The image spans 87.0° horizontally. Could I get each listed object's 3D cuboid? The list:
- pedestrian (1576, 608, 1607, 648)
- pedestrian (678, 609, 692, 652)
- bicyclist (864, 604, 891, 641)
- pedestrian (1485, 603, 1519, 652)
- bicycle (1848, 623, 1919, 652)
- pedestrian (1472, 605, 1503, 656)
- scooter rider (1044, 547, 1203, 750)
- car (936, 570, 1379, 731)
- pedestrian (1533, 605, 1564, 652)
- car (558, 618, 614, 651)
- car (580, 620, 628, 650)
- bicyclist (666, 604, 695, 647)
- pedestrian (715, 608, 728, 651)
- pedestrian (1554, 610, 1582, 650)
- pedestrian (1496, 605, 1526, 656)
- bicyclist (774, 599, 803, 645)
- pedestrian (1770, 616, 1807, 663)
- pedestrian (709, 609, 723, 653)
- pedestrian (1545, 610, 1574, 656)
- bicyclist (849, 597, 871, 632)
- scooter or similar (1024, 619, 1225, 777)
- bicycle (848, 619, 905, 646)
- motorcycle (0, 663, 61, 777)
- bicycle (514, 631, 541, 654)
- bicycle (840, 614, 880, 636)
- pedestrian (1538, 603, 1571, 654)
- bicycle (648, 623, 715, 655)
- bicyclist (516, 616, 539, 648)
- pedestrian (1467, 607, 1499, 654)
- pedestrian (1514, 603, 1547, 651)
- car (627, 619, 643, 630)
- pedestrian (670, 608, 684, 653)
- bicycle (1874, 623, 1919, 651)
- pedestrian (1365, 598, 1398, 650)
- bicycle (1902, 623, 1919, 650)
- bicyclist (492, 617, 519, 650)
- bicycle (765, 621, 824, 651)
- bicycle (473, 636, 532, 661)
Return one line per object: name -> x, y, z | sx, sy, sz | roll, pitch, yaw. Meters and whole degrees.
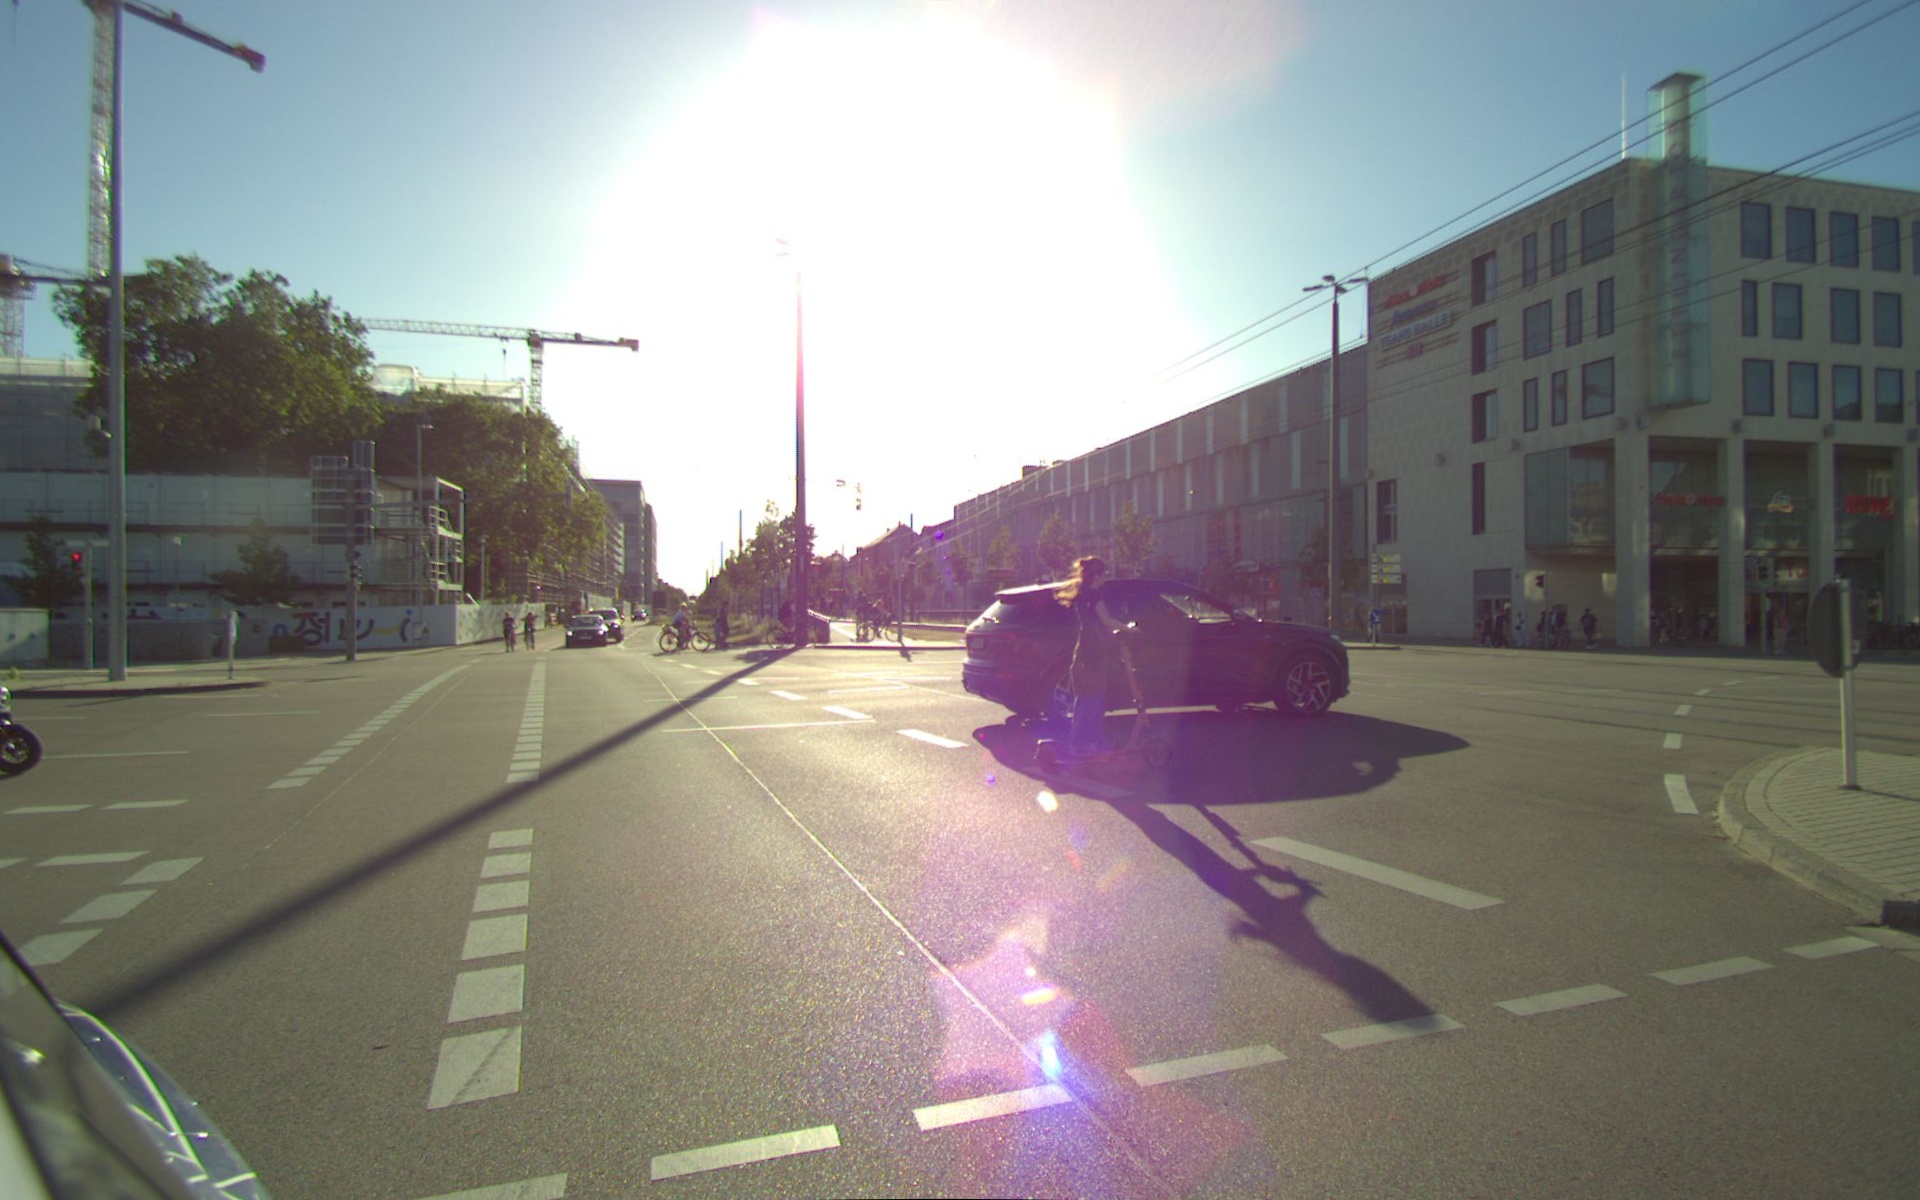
pedestrian -> 26.489, 1.159, 42.452 | 1.006, 1.663, 0.937 | -1, -1, 37
pedestrian -> -10.091, 1.119, 37.108 | 0.444, 1.578, 0.521 | -1, -1, -10
bicyclist -> -3.169, 0.862, 38.881 | 0.827, 1.367, 0.808 | -1, -1, -18
pedestrian -> 24.169, 1.226, 45.126 | 0.930, 2.140, 0.901 | 0, -1, -20
bicycle -> 37.439, 1.512, 40.897 | 0.647, 1.121, 2.415 | 0, -1, -10
pedestrian -> 22.768, 1.308, 43.661 | 0.933, 2.140, 0.899 | 1, -1, -44
scooter rider -> 1.307, 0.368, 8.195 | 1.098, 1.555, 0.646 | 0, 0, -12
car -> 2.259, 0.530, 12.176 | 4.711, 1.675, 2.207 | 0, -1, -14
pedestrian -> 25.933, 1.251, 44.577 | 1.008, 2.029, 0.918 | 1, -1, -45
car -> -16.874, 1.515, 45.810 | 1.966, 1.386, 4.011 | -1, -1, -14
car -> -18.197, 1.759, 51.880 | 1.966, 1.386, 4.011 | -1, -1, -14
bicyclist -> -9.381, 0.849, 33.958 | 0.830, 1.412, 0.807 | -1, -1, -8
pedestrian -> -8.956, 1.096, 38.019 | 0.444, 1.578, 0.521 | -1, -1, -10
pedestrian -> 24.360, 1.187, 40.566 | 0.942, 1.583, 0.833 | -1, -1, 30
pedestrian -> 23.301, 1.286, 42.801 | 0.898, 2.140, 0.934 | -1, -1, 41
bicyclist -> -5.925, 0.745, 34.997 | 0.926, 1.556, 0.651 | -1, -1, -14
pedestrian -> 31.306, 1.467, 38.236 | 0.744, 1.753, 0.755 | 0, -1, -12
pedestrian -> -8.891, 1.118, 36.918 | 0.444, 1.578, 0.521 | -1, -1, -10
pedestrian -> 26.866, 1.448, 45.343 | 0.916, 2.029, 1.010 | -1, -1, 40
bicyclist -> -4.402, 0.650, 44.659 | 0.743, 1.517, 0.619 | 0, -1, -32
scooter or similar -> 1.313, 0.756, 8.188 | 1.459, 1.184, 0.646 | 0, 0, -12
bicycle -> -3.212, 1.242, 38.854 | 2.041, 0.934, 0.808 | -1, -1, -18
motorcycle -> -9.557, 1.107, 9.201 | 1.926, 0.976, 0.759 | 0, 0, -15
bicycle -> -18.420, 1.802, 43.140 | 0.792, 0.934, 2.083 | -1, -1, -15
bicycle -> -4.432, 1.105, 44.715 | 0.743, 0.948, 2.401 | 0, -1, -32
pedestrian -> 25.487, 1.191, 43.369 | 1.062, 2.145, 1.083 | -1, -1, 40
bicycle -> -9.321, 1.310, 33.948 | 2.044, 0.986, 0.807 | -1, -1, -7
bicyclist -> -18.433, 1.349, 43.155 | 0.792, 1.307, 0.779 | -1, -1, -15
pedestrian -> 24.057, 1.410, 46.541 | 0.931, 2.140, 0.901 | 0, -1, -16
pedestrian -> 25.808, 1.221, 45.796 | 0.930, 2.140, 0.901 | 0, -1, -25
car -> -40.436, 3.049, 126.136 | 1.756, 1.335, 4.012 | 0, 0, -16
pedestrian -> -10.186, 1.100, 36.430 | 0.444, 1.578, 0.521 | -1, -1, -10
bicycle -> 38.742, 1.511, 41.137 | 0.673, 1.119, 2.481 | 0, -1, -9
pedestrian -> 17.594, 1.011, 42.228 | 0.931, 2.140, 0.901 | 0, -1, -33
bicycle -> 40.074, 1.504, 41.314 | 0.673, 1.119, 2.480 | 0, -1, -7
bicyclist -> -18.175, 1.344, 40.494 | 0.630, 1.280, 0.804 | -1, -1, 6
bicycle -> -5.728, 1.240, 35.026 | 1.945, 1.004, 0.651 | -1, -1, -14
bicycle -> -18.295, 1.949, 40.491 | 2.052, 0.934, 0.804 | -1, -1, 7
